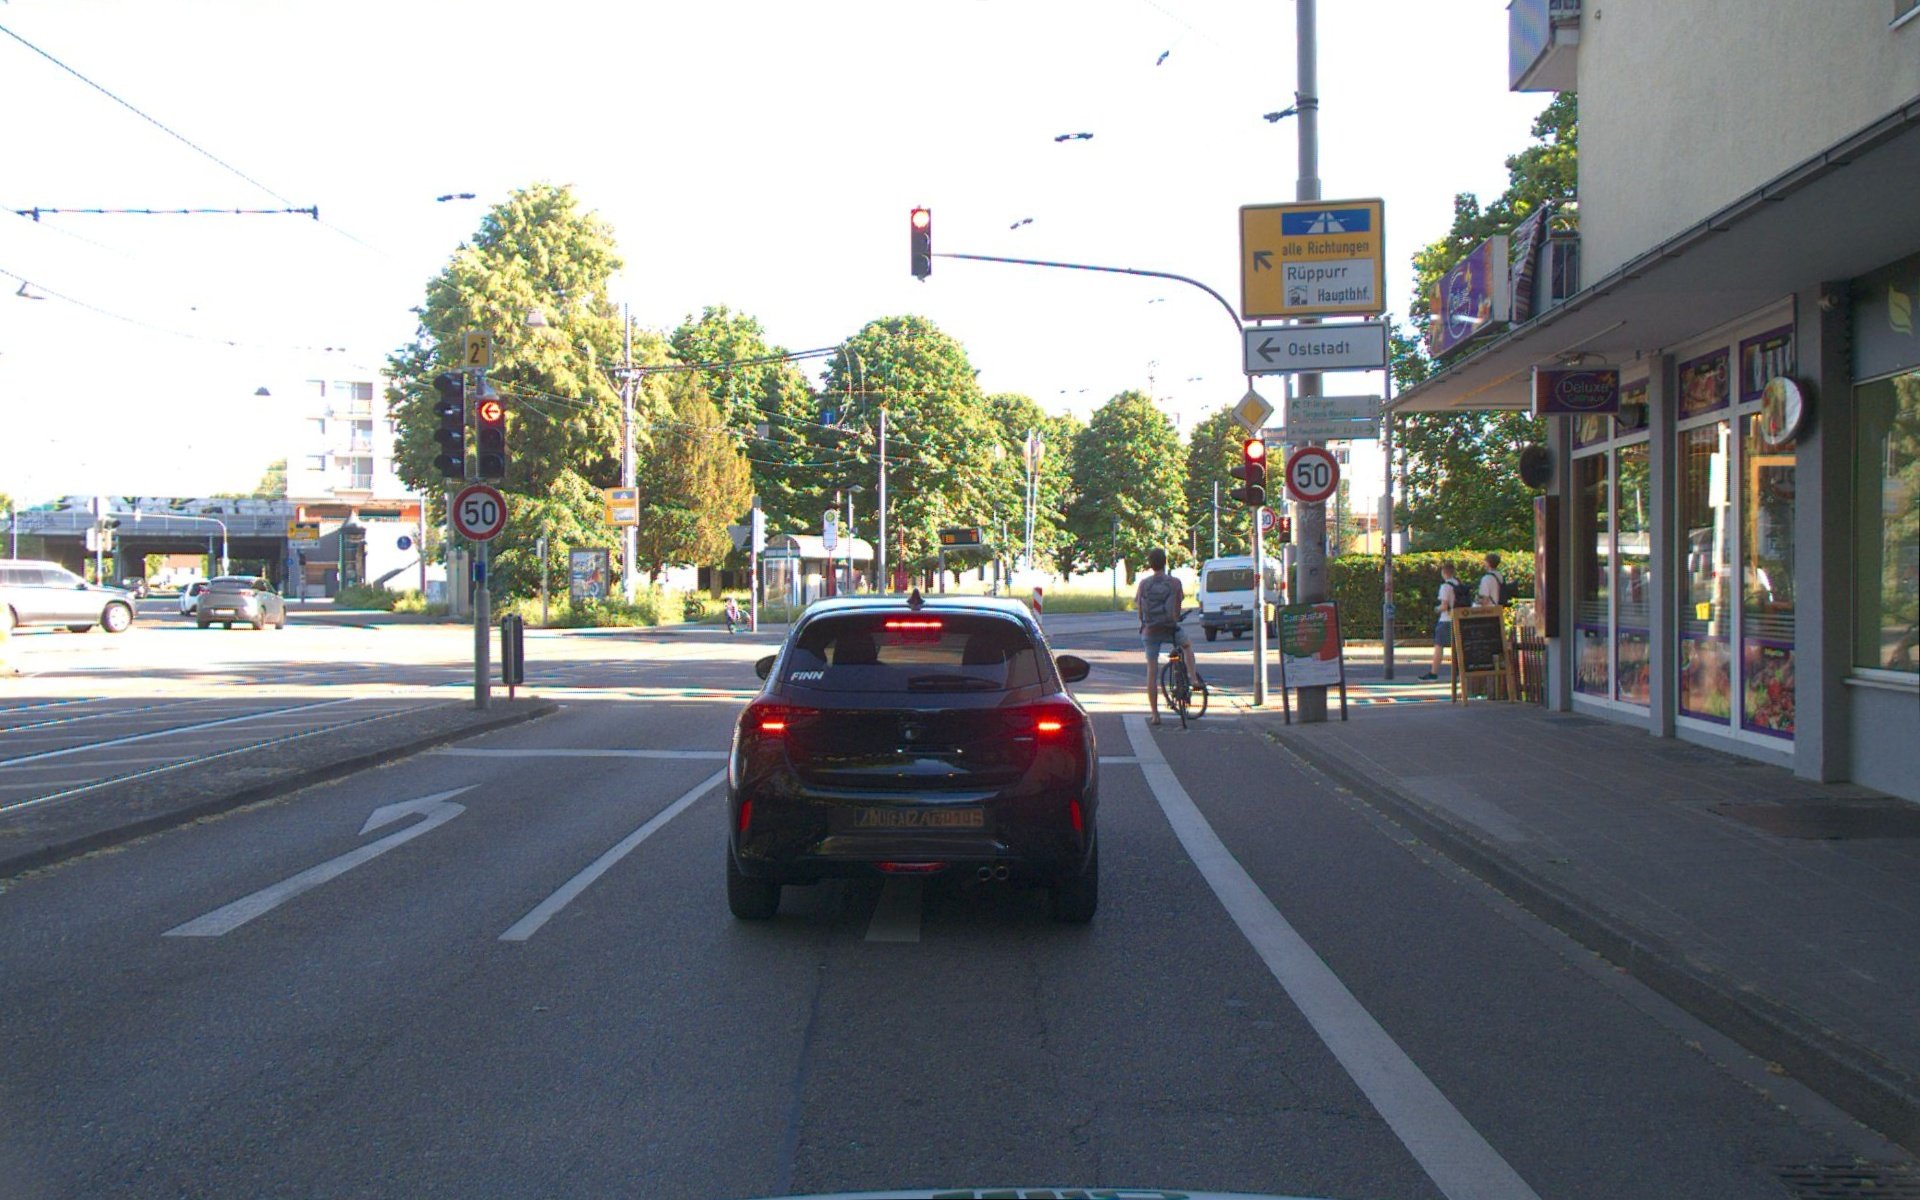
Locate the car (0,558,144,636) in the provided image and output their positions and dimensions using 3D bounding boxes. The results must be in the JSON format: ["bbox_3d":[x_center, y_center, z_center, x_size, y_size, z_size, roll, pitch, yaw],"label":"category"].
[{"bbox_3d":[-23.584,-0.083,42.093,1.873,1.914,4.835,0,1,31],"label":"car"}]

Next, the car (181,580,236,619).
[{"bbox_3d":[-32.176,-0.025,70.767,1.967,1.579,4.160,1,0,-27],"label":"car"}]

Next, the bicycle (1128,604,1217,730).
[{"bbox_3d":[2.331,0.689,17.981,0.737,1.256,2.017,0,1,14],"label":"bicycle"}]

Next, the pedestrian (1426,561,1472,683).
[{"bbox_3d":[7.309,0.325,24.712,0.619,1.794,0.582,1,-1,18],"label":"pedestrian"}]

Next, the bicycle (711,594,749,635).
[{"bbox_3d":[-6.449,0.393,46.450,0.780,1.083,2.184,0,1,-1],"label":"bicycle"}]

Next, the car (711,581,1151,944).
[{"bbox_3d":[-0.145,0.648,8.792,1.803,1.487,3.983,0,1,-1],"label":"car"}]

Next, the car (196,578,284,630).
[{"bbox_3d":[-22.581,0.137,52.007,1.767,1.545,4.192,1,0,-13],"label":"car"}]

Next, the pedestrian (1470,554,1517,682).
[{"bbox_3d":[7.917,0.262,24.530,0.620,1.852,0.745,1,-1,20],"label":"pedestrian"}]

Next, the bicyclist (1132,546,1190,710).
[{"bbox_3d":[2.157,0.295,17.740,0.522,1.722,0.568,0,0,16],"label":"bicyclist"}]

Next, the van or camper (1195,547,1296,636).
[{"bbox_3d":[8.065,-0.224,46.405,1.987,2.351,4.540,1,0,20],"label":"van or camper"}]

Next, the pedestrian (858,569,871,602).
[{"bbox_3d":[-5.578,-0.824,96.864,0.723,1.904,0.661,1,-1,-7],"label":"pedestrian"}]

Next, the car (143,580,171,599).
[{"bbox_3d":[-56.594,-0.752,116.543,1.562,1.282,3.394,-1,1,-30],"label":"car"}]
